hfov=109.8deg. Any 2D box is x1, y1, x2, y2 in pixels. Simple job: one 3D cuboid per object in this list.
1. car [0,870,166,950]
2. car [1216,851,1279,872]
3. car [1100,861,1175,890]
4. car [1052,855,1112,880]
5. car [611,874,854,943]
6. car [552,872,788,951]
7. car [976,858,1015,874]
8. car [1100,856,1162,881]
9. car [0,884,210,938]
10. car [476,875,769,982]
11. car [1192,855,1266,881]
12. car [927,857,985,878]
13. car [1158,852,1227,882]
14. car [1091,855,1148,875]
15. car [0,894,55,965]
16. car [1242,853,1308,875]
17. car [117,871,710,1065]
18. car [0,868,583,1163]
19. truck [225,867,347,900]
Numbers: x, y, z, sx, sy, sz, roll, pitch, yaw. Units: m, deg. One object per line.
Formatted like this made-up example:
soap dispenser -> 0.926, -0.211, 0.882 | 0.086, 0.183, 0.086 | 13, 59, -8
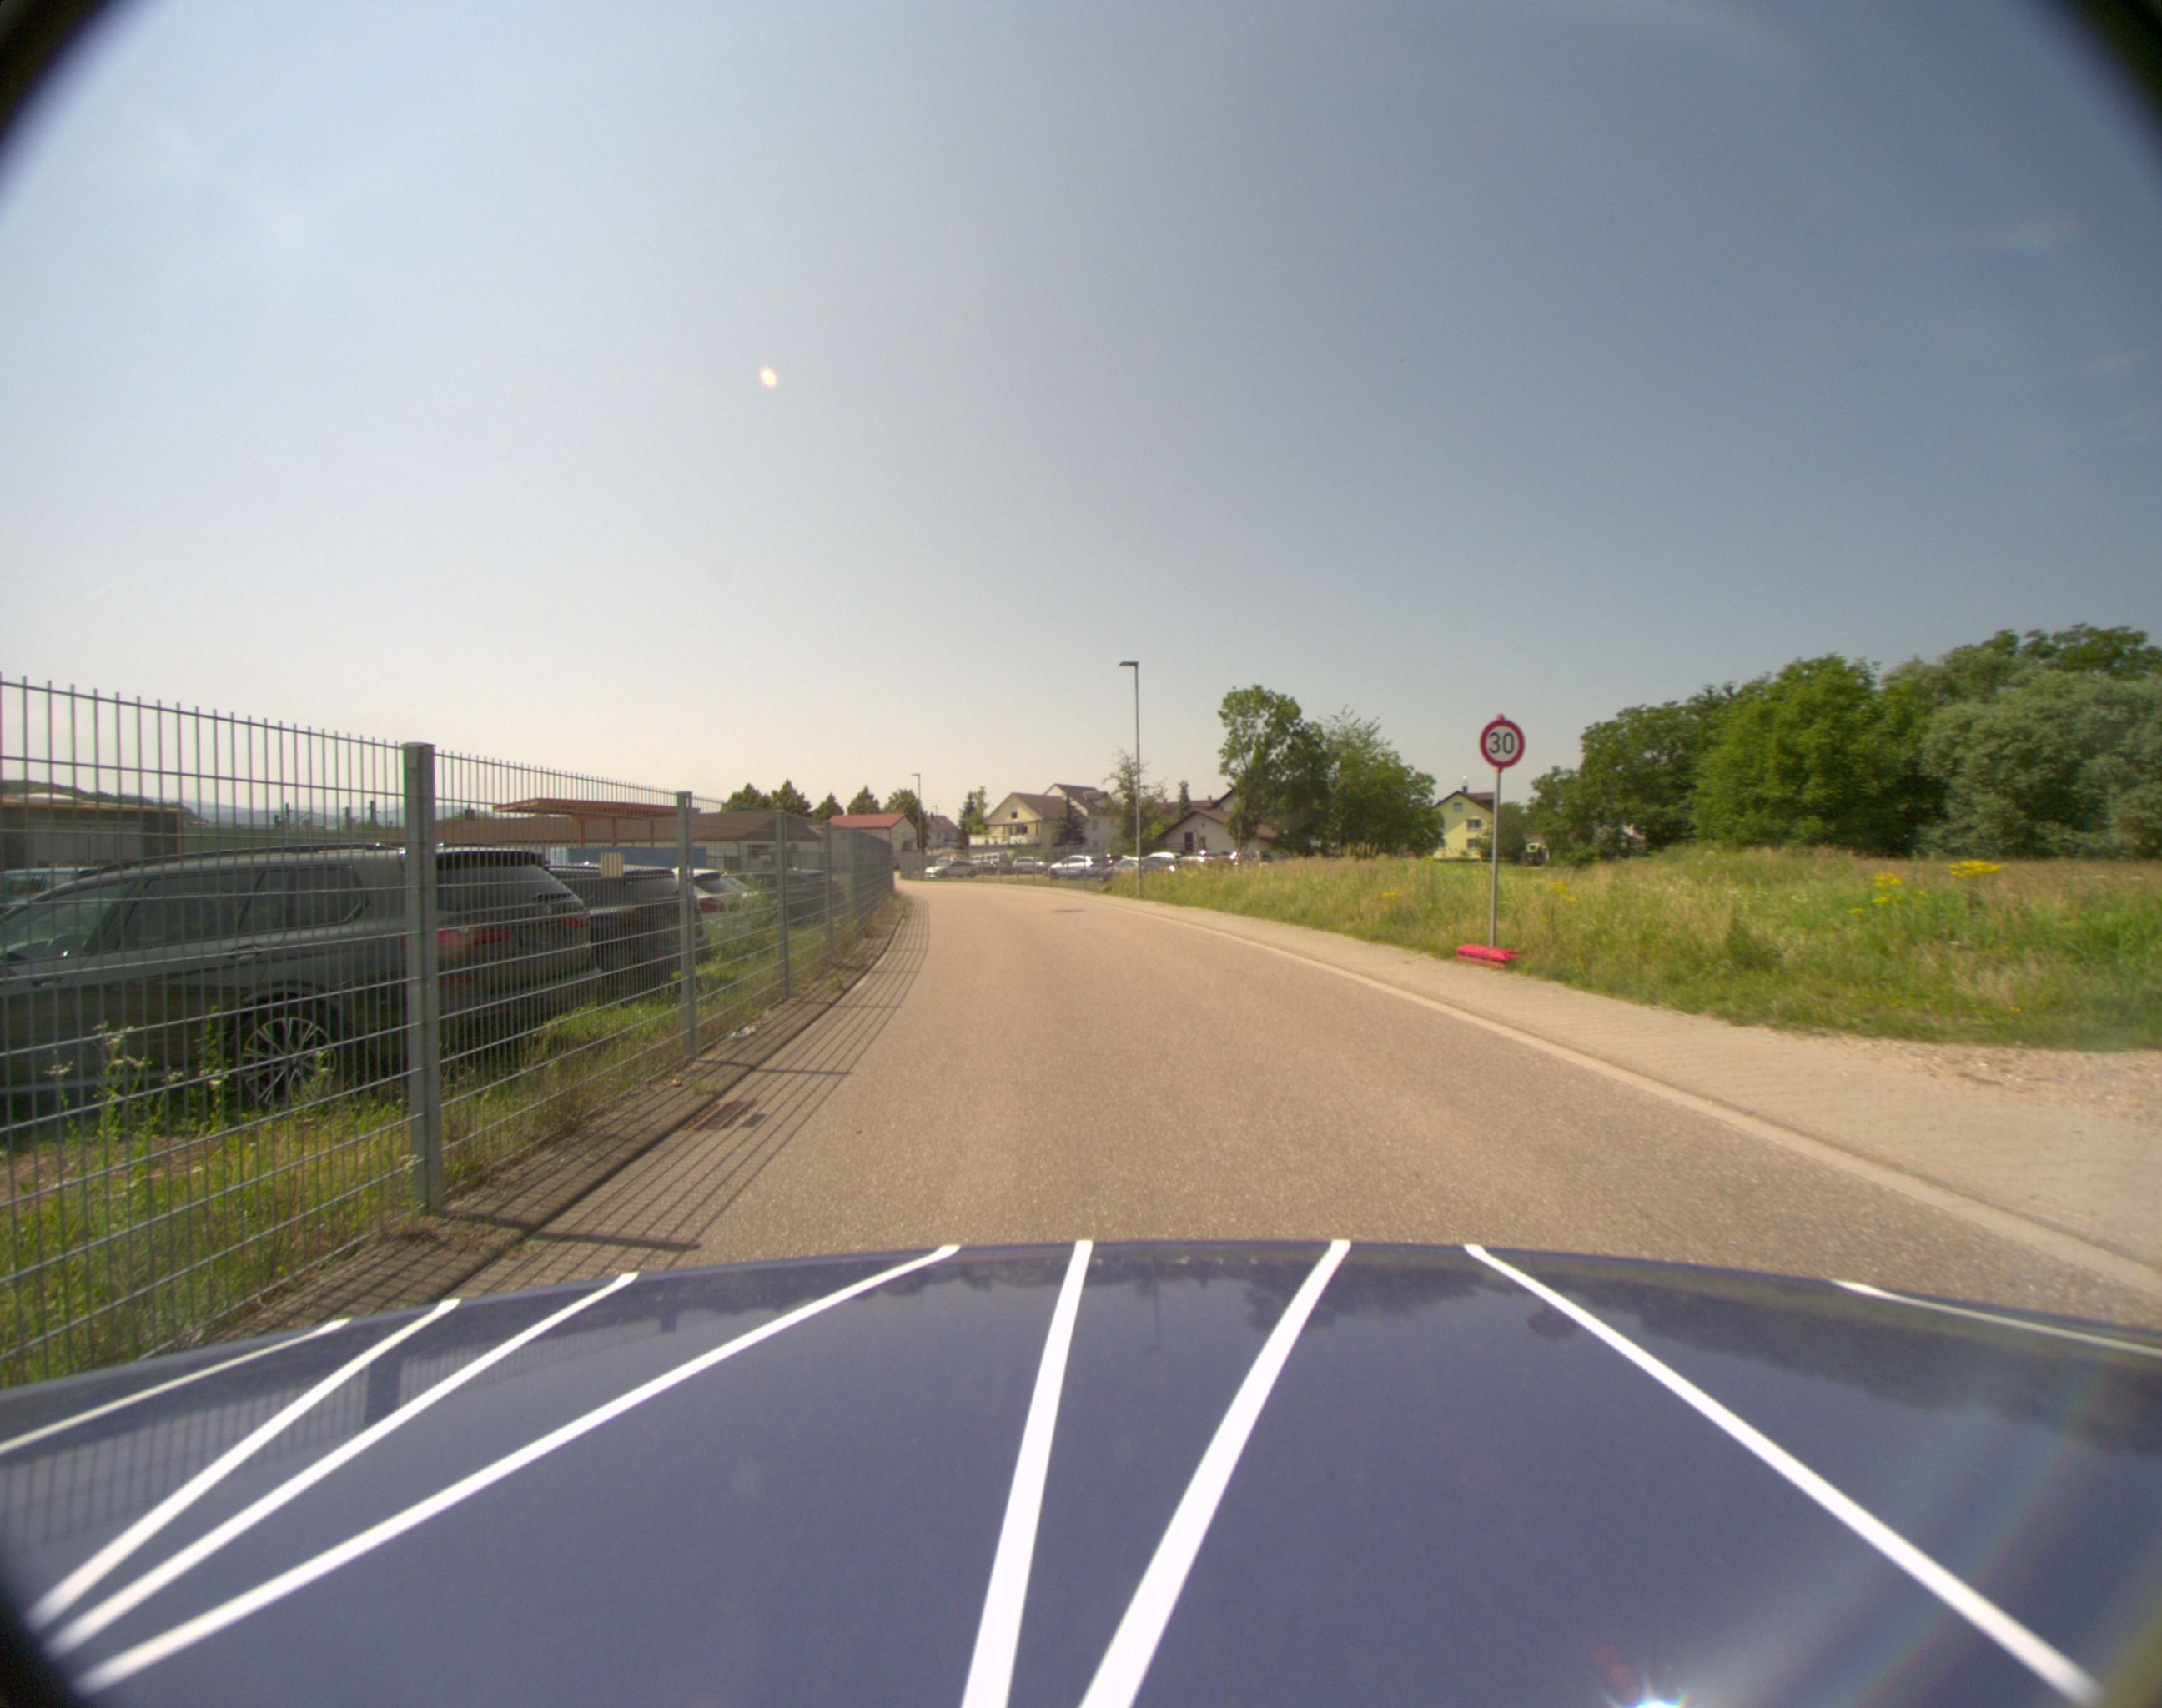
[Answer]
car -> -27.502, 1.457, 20.391 | 4.383, 1.970, 1.843 | -1, 0, 11
car -> 11.249, 0.525, 51.433 | 3.735, 1.309, 1.824 | -1, 1, 41
car -> 2.738, 1.036, 38.009 | 1.584, 1.326, 4.394 | -1, 0, -29
car -> 0.035, 0.836, 48.120 | 3.636, 1.481, 1.585 | -1, 0, 40
car -> -7.326, 1.126, 16.258 | 4.386, 1.310, 1.719 | -1, 0, 1
car -> -7.534, 1.030, 14.162 | 3.474, 1.310, 1.641 | -1, 0, 1
car -> -8.464, 1.186, 75.102 | 3.673, 1.455, 1.824 | -1, 1, 41
car -> 2.972, 0.854, 45.785 | 3.452, 1.411, 1.585 | -1, 0, 40
car -> -22.602, 1.293, 17.609 | 3.370, 1.102, 1.673 | -1, 0, 11
car -> -6.809, 1.076, 11.572 | 3.476, 1.409, 1.516 | -1, 0, -5
car -> 9.099, 0.833, 46.751 | 3.988, 1.489, 2.004 | -1, 0, 40
car -> -10.237, 1.062, 61.993 | 4.397, 1.561, 1.822 | -2, 1, -18
car -> 6.207, 0.735, 42.371 | 3.452, 1.574, 1.585 | -1, 0, 40
car -> 2.998, 0.845, 59.214 | 3.988, 1.489, 2.004 | -1, 0, 40
car -> -23.038, 1.501, 14.833 | 4.383, 1.337, 1.843 | -1, 0, 11
car -> 13.715, 0.679, 53.784 | 3.988, 1.489, 2.004 | -1, 0, 40
car -> -6.363, 1.024, 7.720 | 4.308, 1.594, 1.691 | -1, 0, -6
car -> -6.619, 1.033, 5.565 | 4.698, 1.759, 1.742 | -1, 0, -3
truck -> -49.364, 1.792, 47.326 | 2.057, 1.787, 4.805 | -1, 0, 13
